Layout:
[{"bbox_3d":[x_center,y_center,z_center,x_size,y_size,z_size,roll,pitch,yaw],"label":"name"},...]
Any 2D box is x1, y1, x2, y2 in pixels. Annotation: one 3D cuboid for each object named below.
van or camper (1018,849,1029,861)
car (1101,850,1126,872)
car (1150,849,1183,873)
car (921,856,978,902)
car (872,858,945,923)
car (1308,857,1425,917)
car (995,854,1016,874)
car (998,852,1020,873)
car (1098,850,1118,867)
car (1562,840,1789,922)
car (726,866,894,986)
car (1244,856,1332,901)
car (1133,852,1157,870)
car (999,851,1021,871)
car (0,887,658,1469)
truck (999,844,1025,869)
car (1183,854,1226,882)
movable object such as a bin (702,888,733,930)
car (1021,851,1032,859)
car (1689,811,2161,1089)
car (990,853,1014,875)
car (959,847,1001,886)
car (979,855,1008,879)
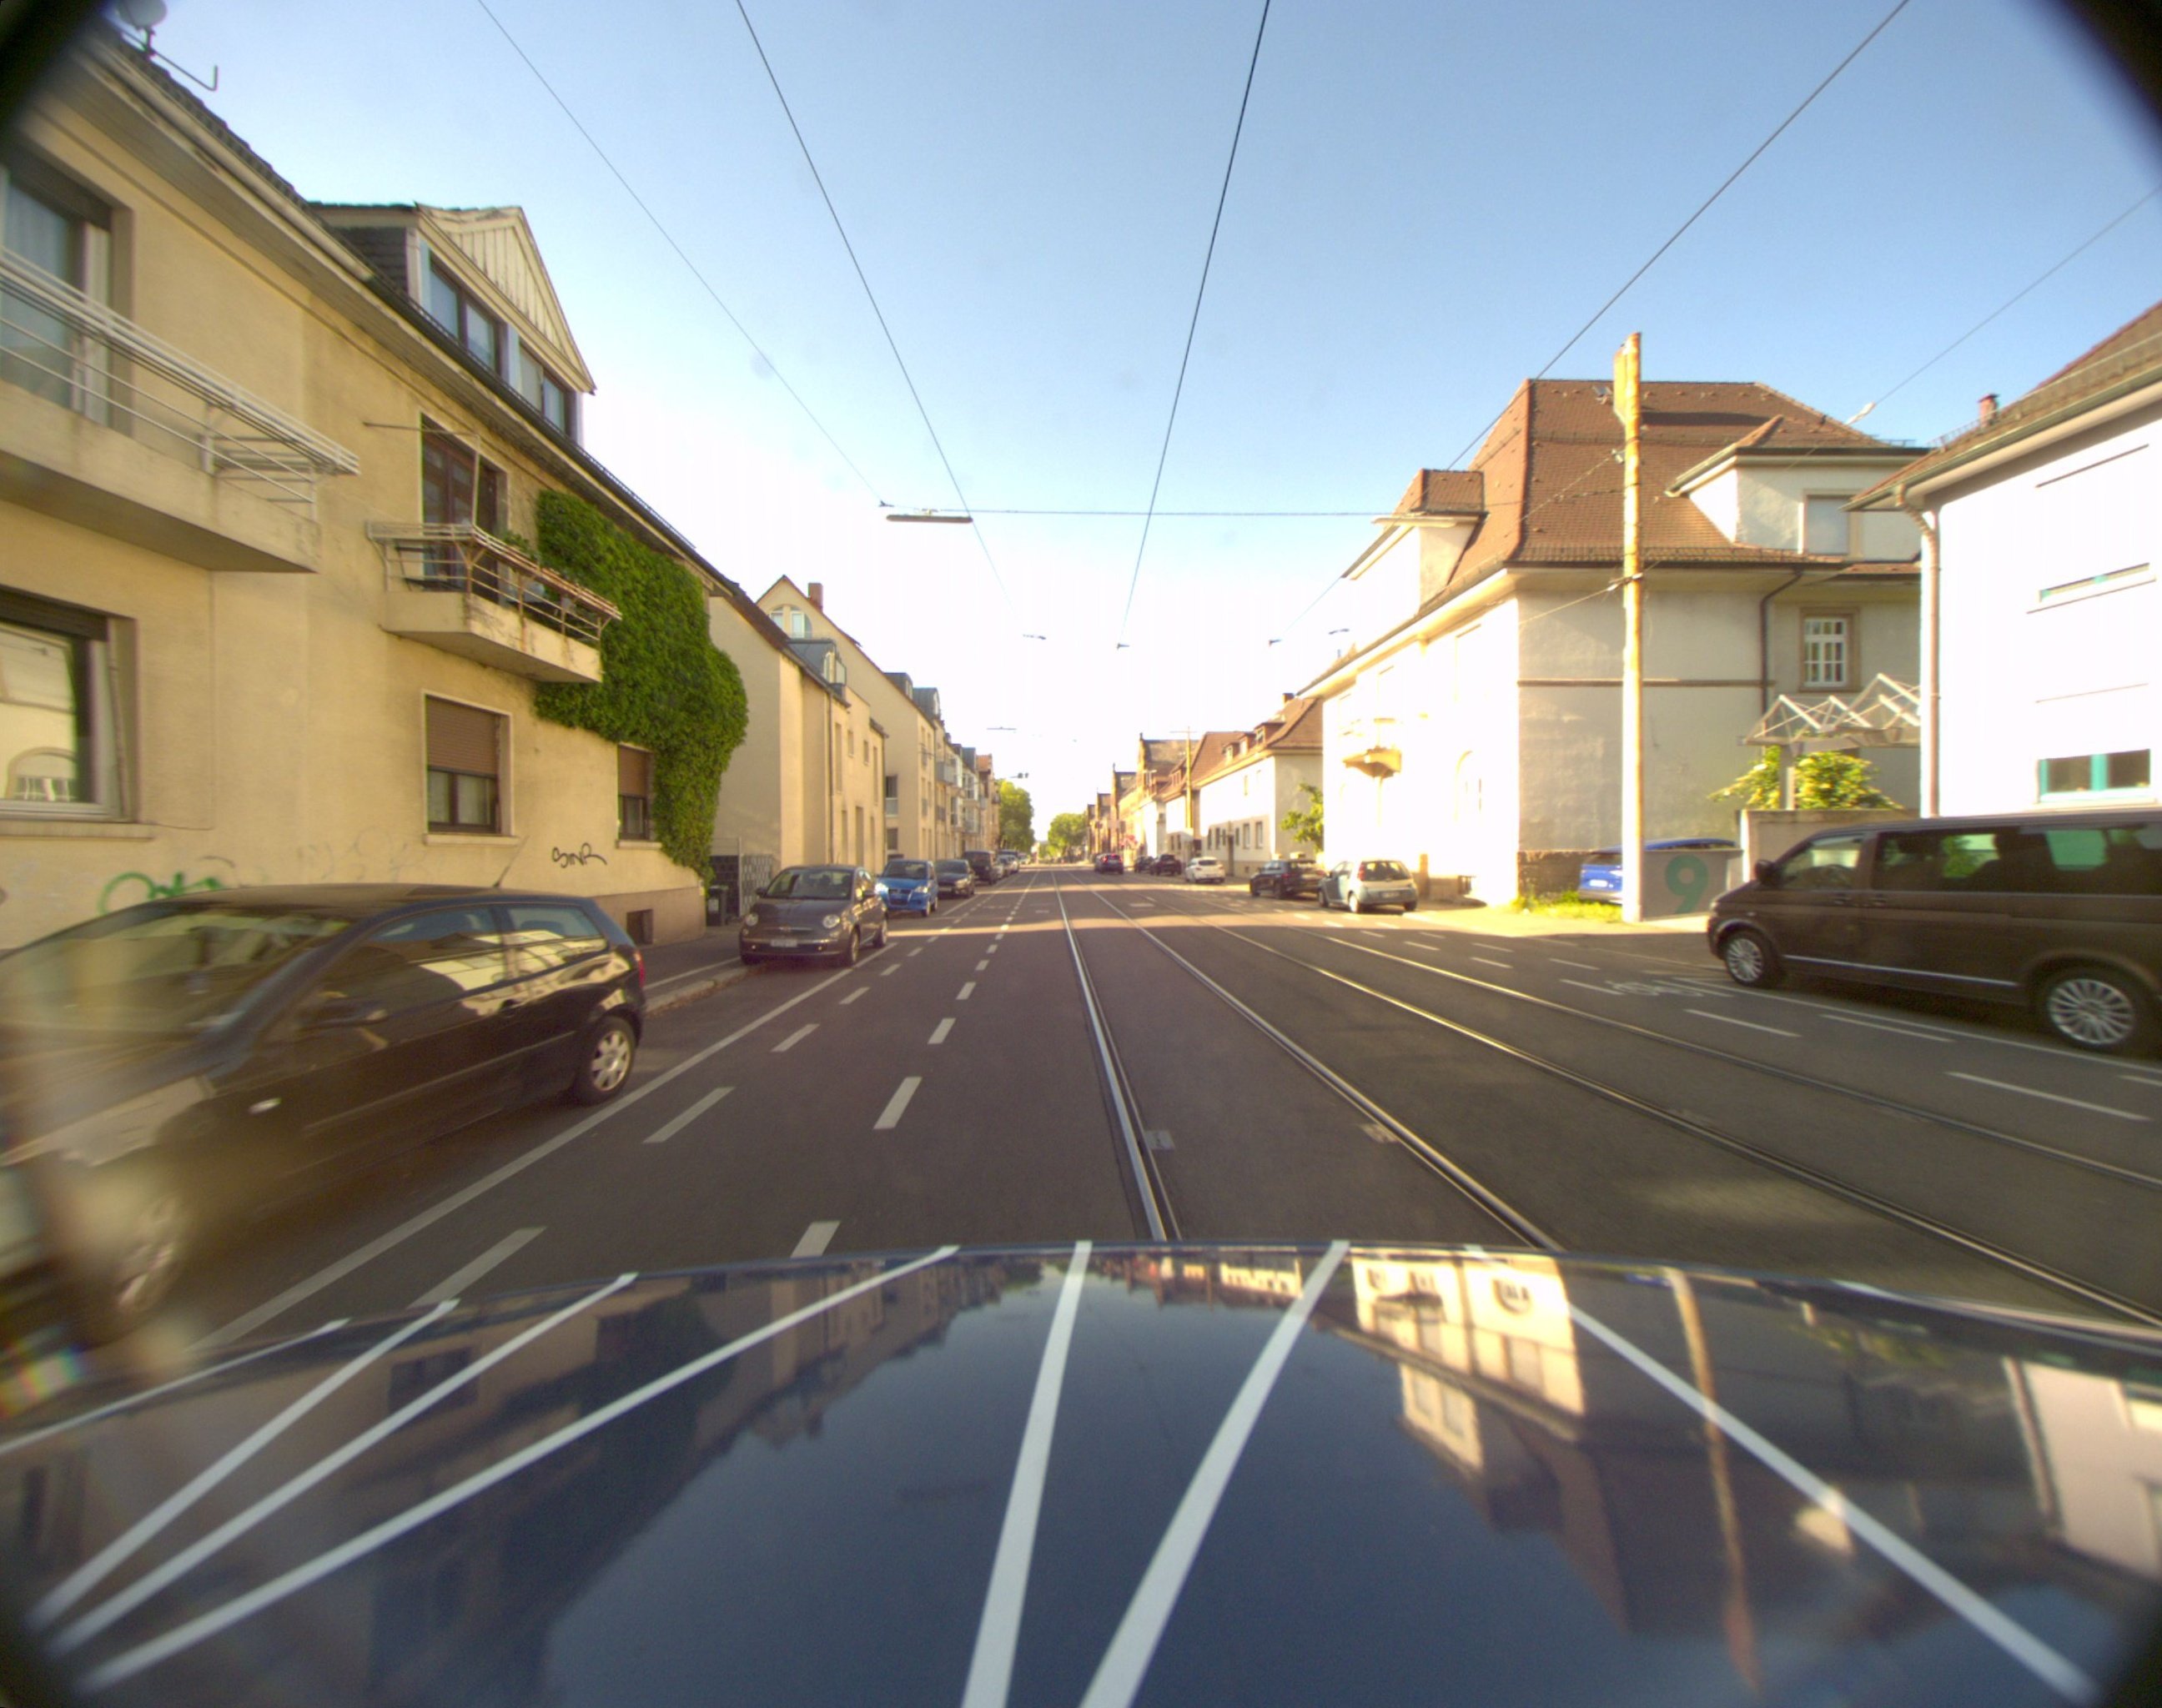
[{"bbox_3d":[-11.597,0.250,154.431,1.999,2.346,5.598,-1,-1,-3],"label":"van or camper"},{"bbox_3d":[2.614,0.522,61.893,1.708,1.695,4.362,1,1,-2],"label":"car"},{"bbox_3d":[6.427,0.494,57.716,1.767,1.695,4.553,1,1,-3],"label":"car"},{"bbox_3d":[-5.165,0.925,30.352,1.749,1.590,4.431,-2,0,-4],"label":"car"},{"bbox_3d":[-4.762,0.947,21.300,1.461,1.590,3.292,-2,0,-4],"label":"car"},{"bbox_3d":[7.912,0.853,21.441,1.681,1.468,3.834,-2,0,-2],"label":"car"},{"bbox_3d":[-6.066,0.789,61.442,1.501,1.548,3.363,-2,0,-3],"label":"car"},{"bbox_3d":[-6.271,0.687,66.112,1.607,1.690,3.988,-2,0,-2],"label":"car"},{"bbox_3d":[2.438,0.425,69.467,1.622,1.452,4.074,1,1,-1],"label":"car"},{"bbox_3d":[13.527,0.577,17.423,3.936,1.773,1.754,0,1,-4],"label":"car"},{"bbox_3d":[-4.168,1.025,12.276,1.606,1.516,3.547,-2,0,-4],"label":"car"},{"bbox_3d":[7.475,0.839,27.807,1.668,1.468,4.248,-1,0,-6],"label":"car"},{"bbox_3d":[5.788,0.617,69.254,1.620,1.618,3.920,1,1,-3],"label":"car"},{"bbox_3d":[-6.688,0.645,71.521,1.744,1.736,4.254,-2,0,-2],"label":"car"},{"bbox_3d":[-3.985,1.046,3.581,1.669,1.555,3.771,0,1,4],"label":"car"},{"bbox_3d":[-6.981,0.270,77.805,2.302,2.463,6.144,0,0,-2],"label":"truck"},{"bbox_3d":[6.889,0.767,42.784,1.636,1.449,4.014,1,1,-2],"label":"car"},{"bbox_3d":[-8.336,1.258,17.433,0.494,0.911,0.514,0,1,-5],"label":"movable object such as a bin"},{"bbox_3d":[-10.369,0.252,144.256,1.984,1.539,4.034,-1,0,-2],"label":"car"},{"bbox_3d":[8.731,0.654,7.217,1.911,2.002,4.948,-2,0,0],"label":"car"},{"bbox_3d":[-5.922,0.746,56.982,1.558,1.548,3.651,-2,0,-3],"label":"car"},{"bbox_3d":[-5.582,0.643,42.349,1.911,1.976,4.561,-2,0,-3],"label":"car"},{"bbox_3d":[-5.929,0.841,51.890,1.681,1.482,4.171,-2,0,-3],"label":"car"}]
